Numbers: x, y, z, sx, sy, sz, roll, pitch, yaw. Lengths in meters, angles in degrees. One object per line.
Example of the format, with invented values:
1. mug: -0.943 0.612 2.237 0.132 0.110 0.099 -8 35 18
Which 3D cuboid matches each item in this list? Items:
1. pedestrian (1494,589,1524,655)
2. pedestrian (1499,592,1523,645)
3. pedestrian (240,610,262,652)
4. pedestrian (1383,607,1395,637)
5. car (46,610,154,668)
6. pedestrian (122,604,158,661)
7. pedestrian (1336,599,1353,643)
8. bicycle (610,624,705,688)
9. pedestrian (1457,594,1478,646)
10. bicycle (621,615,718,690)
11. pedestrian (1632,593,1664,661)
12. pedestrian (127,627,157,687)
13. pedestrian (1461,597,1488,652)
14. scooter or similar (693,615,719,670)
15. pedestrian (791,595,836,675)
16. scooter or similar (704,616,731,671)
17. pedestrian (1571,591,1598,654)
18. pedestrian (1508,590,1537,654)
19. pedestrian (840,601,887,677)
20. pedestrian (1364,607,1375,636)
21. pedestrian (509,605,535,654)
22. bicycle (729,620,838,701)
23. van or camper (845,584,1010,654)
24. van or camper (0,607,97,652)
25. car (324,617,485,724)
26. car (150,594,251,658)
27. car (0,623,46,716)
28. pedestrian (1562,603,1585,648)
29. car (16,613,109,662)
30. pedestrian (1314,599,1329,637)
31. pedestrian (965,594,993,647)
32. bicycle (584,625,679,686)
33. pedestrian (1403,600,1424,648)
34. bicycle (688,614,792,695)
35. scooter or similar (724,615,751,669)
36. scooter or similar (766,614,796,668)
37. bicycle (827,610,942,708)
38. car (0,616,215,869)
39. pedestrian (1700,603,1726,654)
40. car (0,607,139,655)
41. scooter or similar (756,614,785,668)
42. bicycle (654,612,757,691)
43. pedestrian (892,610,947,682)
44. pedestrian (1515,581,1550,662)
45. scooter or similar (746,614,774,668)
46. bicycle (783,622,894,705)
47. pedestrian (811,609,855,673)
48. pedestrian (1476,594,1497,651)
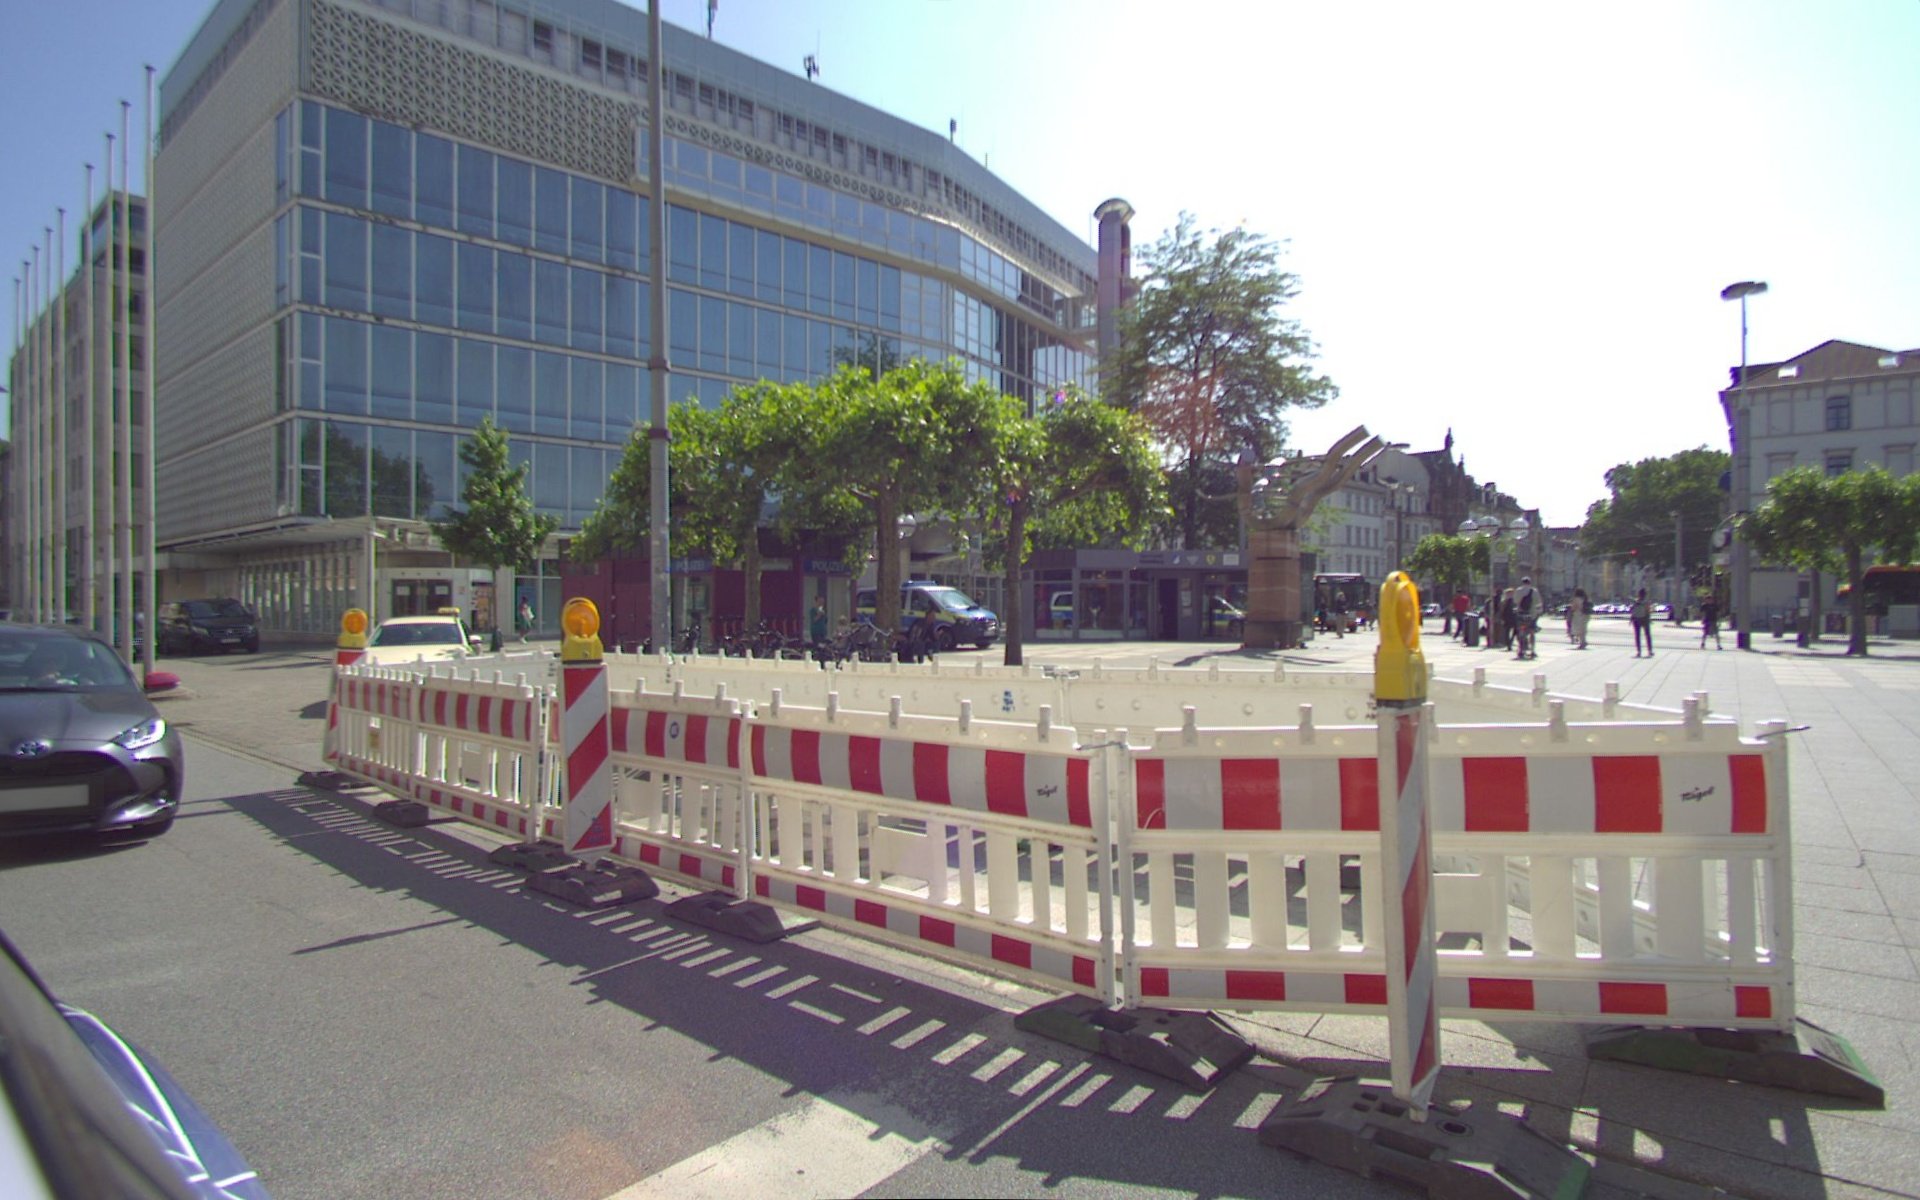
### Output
1. pedestrian: 14.873 0.582 27.421 0.605 1.762 0.794 -1 1 36
2. pedestrian: 18.088 0.600 33.214 0.605 1.679 0.794 -1 1 36
3. pedestrian: -28.164 1.227 40.207 0.543 1.629 0.574 -1 -2 39
4. pedestrian: 24.068 1.223 56.815 0.602 1.651 0.570 -1 1 22
5. car: -26.033 1.142 30.576 4.706 1.612 1.743 -1 -1 40
6. pedestrian: -26.078 1.022 32.190 0.610 1.806 0.694 -1 -1 -10
7. pedestrian: 14.888 0.813 39.159 0.602 1.651 0.570 -1 1 22
8. bicycle: -5.823 1.053 19.562 0.562 1.141 1.765 -1 -1 38
9. pedestrian: 17.502 0.672 34.912 0.602 1.762 0.797 -1 1 24
10. bicycle: -5.468 0.954 19.103 0.562 1.319 1.765 -1 -1 38
11. pedestrian: 16.439 0.635 24.184 0.605 1.572 0.794 -1 1 36
12. pedestrian: -25.467 1.767 31.524 0.524 1.806 0.540 -1 -1 -10
13. pedestrian: 15.820 0.742 31.109 0.605 1.633 0.794 -1 1 36
14. scooter or similar: -5.892 0.973 23.468 0.230 1.223 1.307 -1 0 -29
15. pedestrian: -3.179 0.749 22.018 0.685 1.690 0.666 -1 0 33
16. scooter or similar: -5.645 0.992 23.527 0.230 1.223 1.307 -1 0 -29
17. pedestrian: 17.945 0.645 29.079 0.605 1.762 0.794 -1 1 36
18. pedestrian: 15.882 0.612 28.576 0.605 1.762 0.794 -1 1 36
19. pedestrian: -2.103 0.837 22.066 0.670 1.618 0.798 -1 0 28
20. pedestrian: 23.566 1.252 58.238 0.602 1.651 0.570 -1 1 22
21. pedestrian: -15.522 1.039 35.862 0.674 1.728 0.723 2 -2 -40
22. bicycle: -2.866 0.951 16.594 0.662 1.224 1.765 -1 -1 38
23. van or camper: -1.045 0.531 30.416 5.020 1.933 1.854 0 0 39
24. van or camper: -44.417 1.417 48.221 4.585 2.029 2.004 -2 0 -10
25. car: -9.549 1.108 17.776 1.864 1.553 4.877 -1 -1 -22
26. car: -25.846 0.868 34.382 4.683 2.029 1.813 -1 -1 41
27. car: -16.512 1.101 16.752 4.107 1.407 1.710 -1 -1 43
28. pedestrian: 22.699 0.934 37.438 0.602 1.651 0.570 -1 1 22
29. car: -30.465 1.256 34.307 4.736 1.534 1.780 -2 0 41
30. pedestrian: 15.705 0.782 43.945 0.602 1.651 0.570 -1 1 22
31. pedestrian: 0.659 0.702 34.526 0.605 1.762 0.794 -1 1 36
32. bicycle: -6.440 1.062 19.900 0.562 1.114 1.765 -1 -1 38
33. pedestrian: 15.888 0.835 35.465 0.602 1.651 0.570 -1 1 22
34. bicycle: -3.808 0.911 17.628 0.662 1.319 1.765 -1 -1 38
35. scooter or similar: -5.221 0.971 23.735 0.230 1.223 1.307 -1 0 -29
36. scooter or similar: -4.258 0.955 24.032 0.260 1.223 1.307 -1 0 -29
37. bicycle: -1.131 0.859 15.518 0.740 1.358 1.765 -1 1 38
38. car: -7.101 0.915 7.438 4.106 1.489 1.843 -3 -5 43
39. pedestrian: 25.208 0.947 33.867 0.566 1.651 0.606 -1 1 -44
40. car: -38.066 1.302 43.109 4.372 1.924 2.014 -1 -1 -13
41. scooter or similar: -4.487 0.957 23.922 0.230 1.223 1.307 -1 0 -29
42. bicycle: -4.554 0.889 18.191 0.662 1.319 1.765 -1 -1 38
43. pedestrian: -0.809 0.894 20.151 0.662 1.392 0.898 -1 0 -40
44. pedestrian: 13.186 0.476 23.309 0.605 1.812 0.794 -1 1 36
45. scooter or similar: -4.737 0.953 23.883 0.230 1.223 1.307 -1 0 -29
46. bicycle: -1.869 0.953 15.767 0.662 1.194 1.765 -1 -1 38
47. pedestrian: -2.708 0.868 21.635 0.683 1.319 0.668 -1 0 24
48. pedestrian: 16.467 0.697 31.674 0.502 1.762 0.539 -1 1 36
